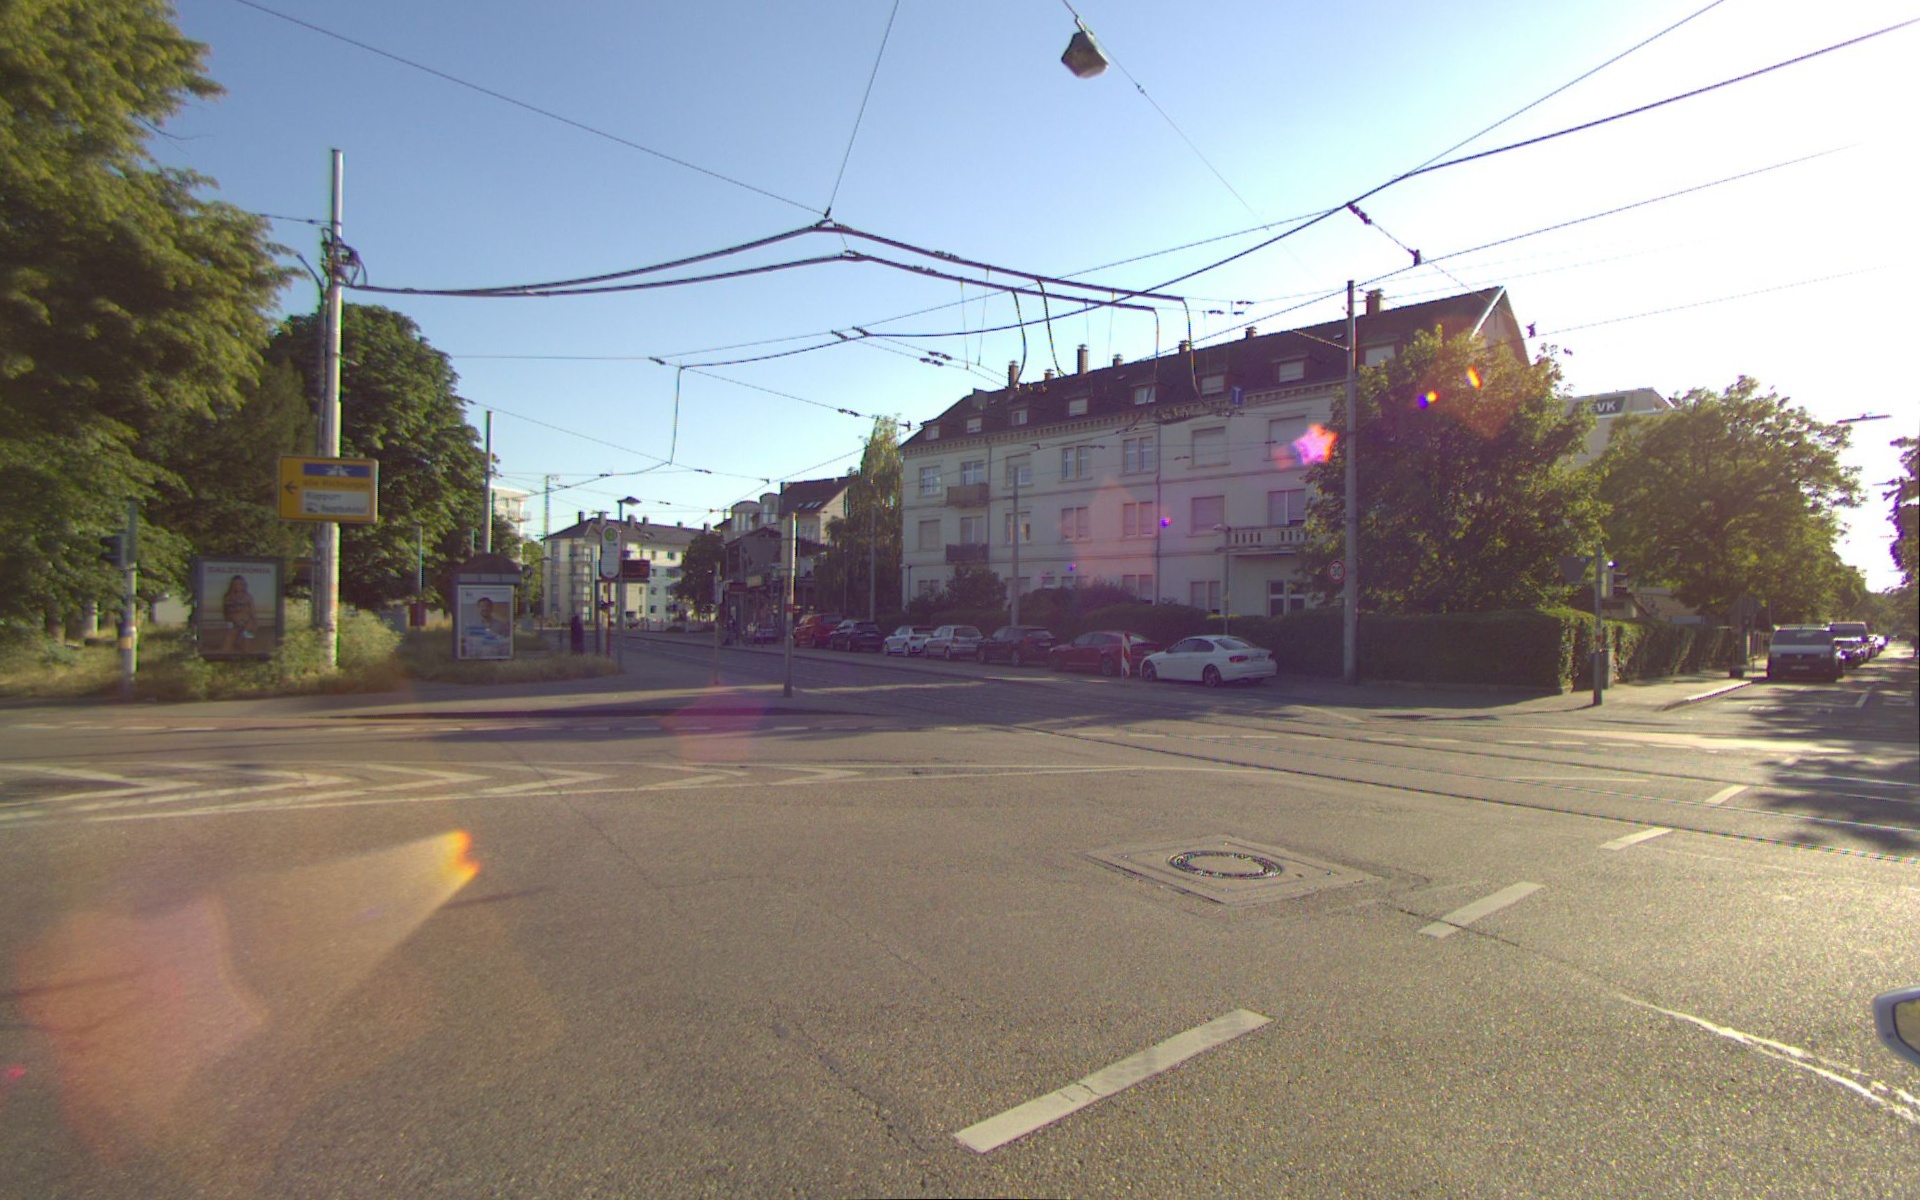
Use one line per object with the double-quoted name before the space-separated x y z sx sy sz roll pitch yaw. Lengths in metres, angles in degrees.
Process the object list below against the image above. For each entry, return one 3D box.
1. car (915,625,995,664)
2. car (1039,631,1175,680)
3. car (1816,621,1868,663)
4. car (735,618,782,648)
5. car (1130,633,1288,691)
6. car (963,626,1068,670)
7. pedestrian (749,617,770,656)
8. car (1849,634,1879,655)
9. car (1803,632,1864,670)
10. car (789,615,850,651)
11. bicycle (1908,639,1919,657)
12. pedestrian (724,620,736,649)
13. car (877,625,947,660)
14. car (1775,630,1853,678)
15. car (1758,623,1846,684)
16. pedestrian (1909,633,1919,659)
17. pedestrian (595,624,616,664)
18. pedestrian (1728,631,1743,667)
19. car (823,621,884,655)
"car" -0.254 1.861 42.725 1.961 1.467 3.694 -1 0 -27
"car" 4.800 1.786 33.472 1.964 1.395 4.665 -1 0 -31
"car" 56.252 2.672 64.132 2.327 2.548 5.284 0 -2 40
"car" -14.535 2.360 72.409 2.030 1.988 5.116 -1 0 -27
"car" 7.030 1.709 28.799 1.906 1.395 4.464 -1 0 -28
"car" 2.057 1.800 38.804 1.961 1.467 4.674 -1 0 -27
"pedestrian" -10.600 1.925 53.086 0.910 2.040 0.765 1 -1 -22
"car" 85.818 4.250 95.382 1.971 1.711 3.980 4 -1 41
"car" 45.570 2.638 52.504 2.327 1.818 5.284 0 -2 40
"car" -8.394 1.927 59.567 2.030 1.988 5.116 -1 0 -27
"bicycle" 76.090 3.814 80.076 0.758 1.341 1.913 0 -2 43
"pedestrian" -12.543 1.879 54.778 0.558 1.520 0.677 1 -1 -14
"car" -2.294 1.955 46.833 1.821 1.467 3.932 -1 0 -27
"car" 35.270 2.184 41.567 2.327 1.818 5.284 0 -2 40
"car" 31.040 1.911 37.077 2.327 2.040 5.284 0 -2 40
"pedestrian" 76.137 3.642 80.043 0.729 2.040 0.739 0 -1 44
"pedestrian" -12.900 1.600 36.509 0.592 1.446 0.501 1 -1 -35
"pedestrian" 38.186 2.385 49.461 0.571 1.753 0.606 0 -1 38
"car" -5.761 2.000 53.712 1.821 1.690 4.341 -1 0 -27
